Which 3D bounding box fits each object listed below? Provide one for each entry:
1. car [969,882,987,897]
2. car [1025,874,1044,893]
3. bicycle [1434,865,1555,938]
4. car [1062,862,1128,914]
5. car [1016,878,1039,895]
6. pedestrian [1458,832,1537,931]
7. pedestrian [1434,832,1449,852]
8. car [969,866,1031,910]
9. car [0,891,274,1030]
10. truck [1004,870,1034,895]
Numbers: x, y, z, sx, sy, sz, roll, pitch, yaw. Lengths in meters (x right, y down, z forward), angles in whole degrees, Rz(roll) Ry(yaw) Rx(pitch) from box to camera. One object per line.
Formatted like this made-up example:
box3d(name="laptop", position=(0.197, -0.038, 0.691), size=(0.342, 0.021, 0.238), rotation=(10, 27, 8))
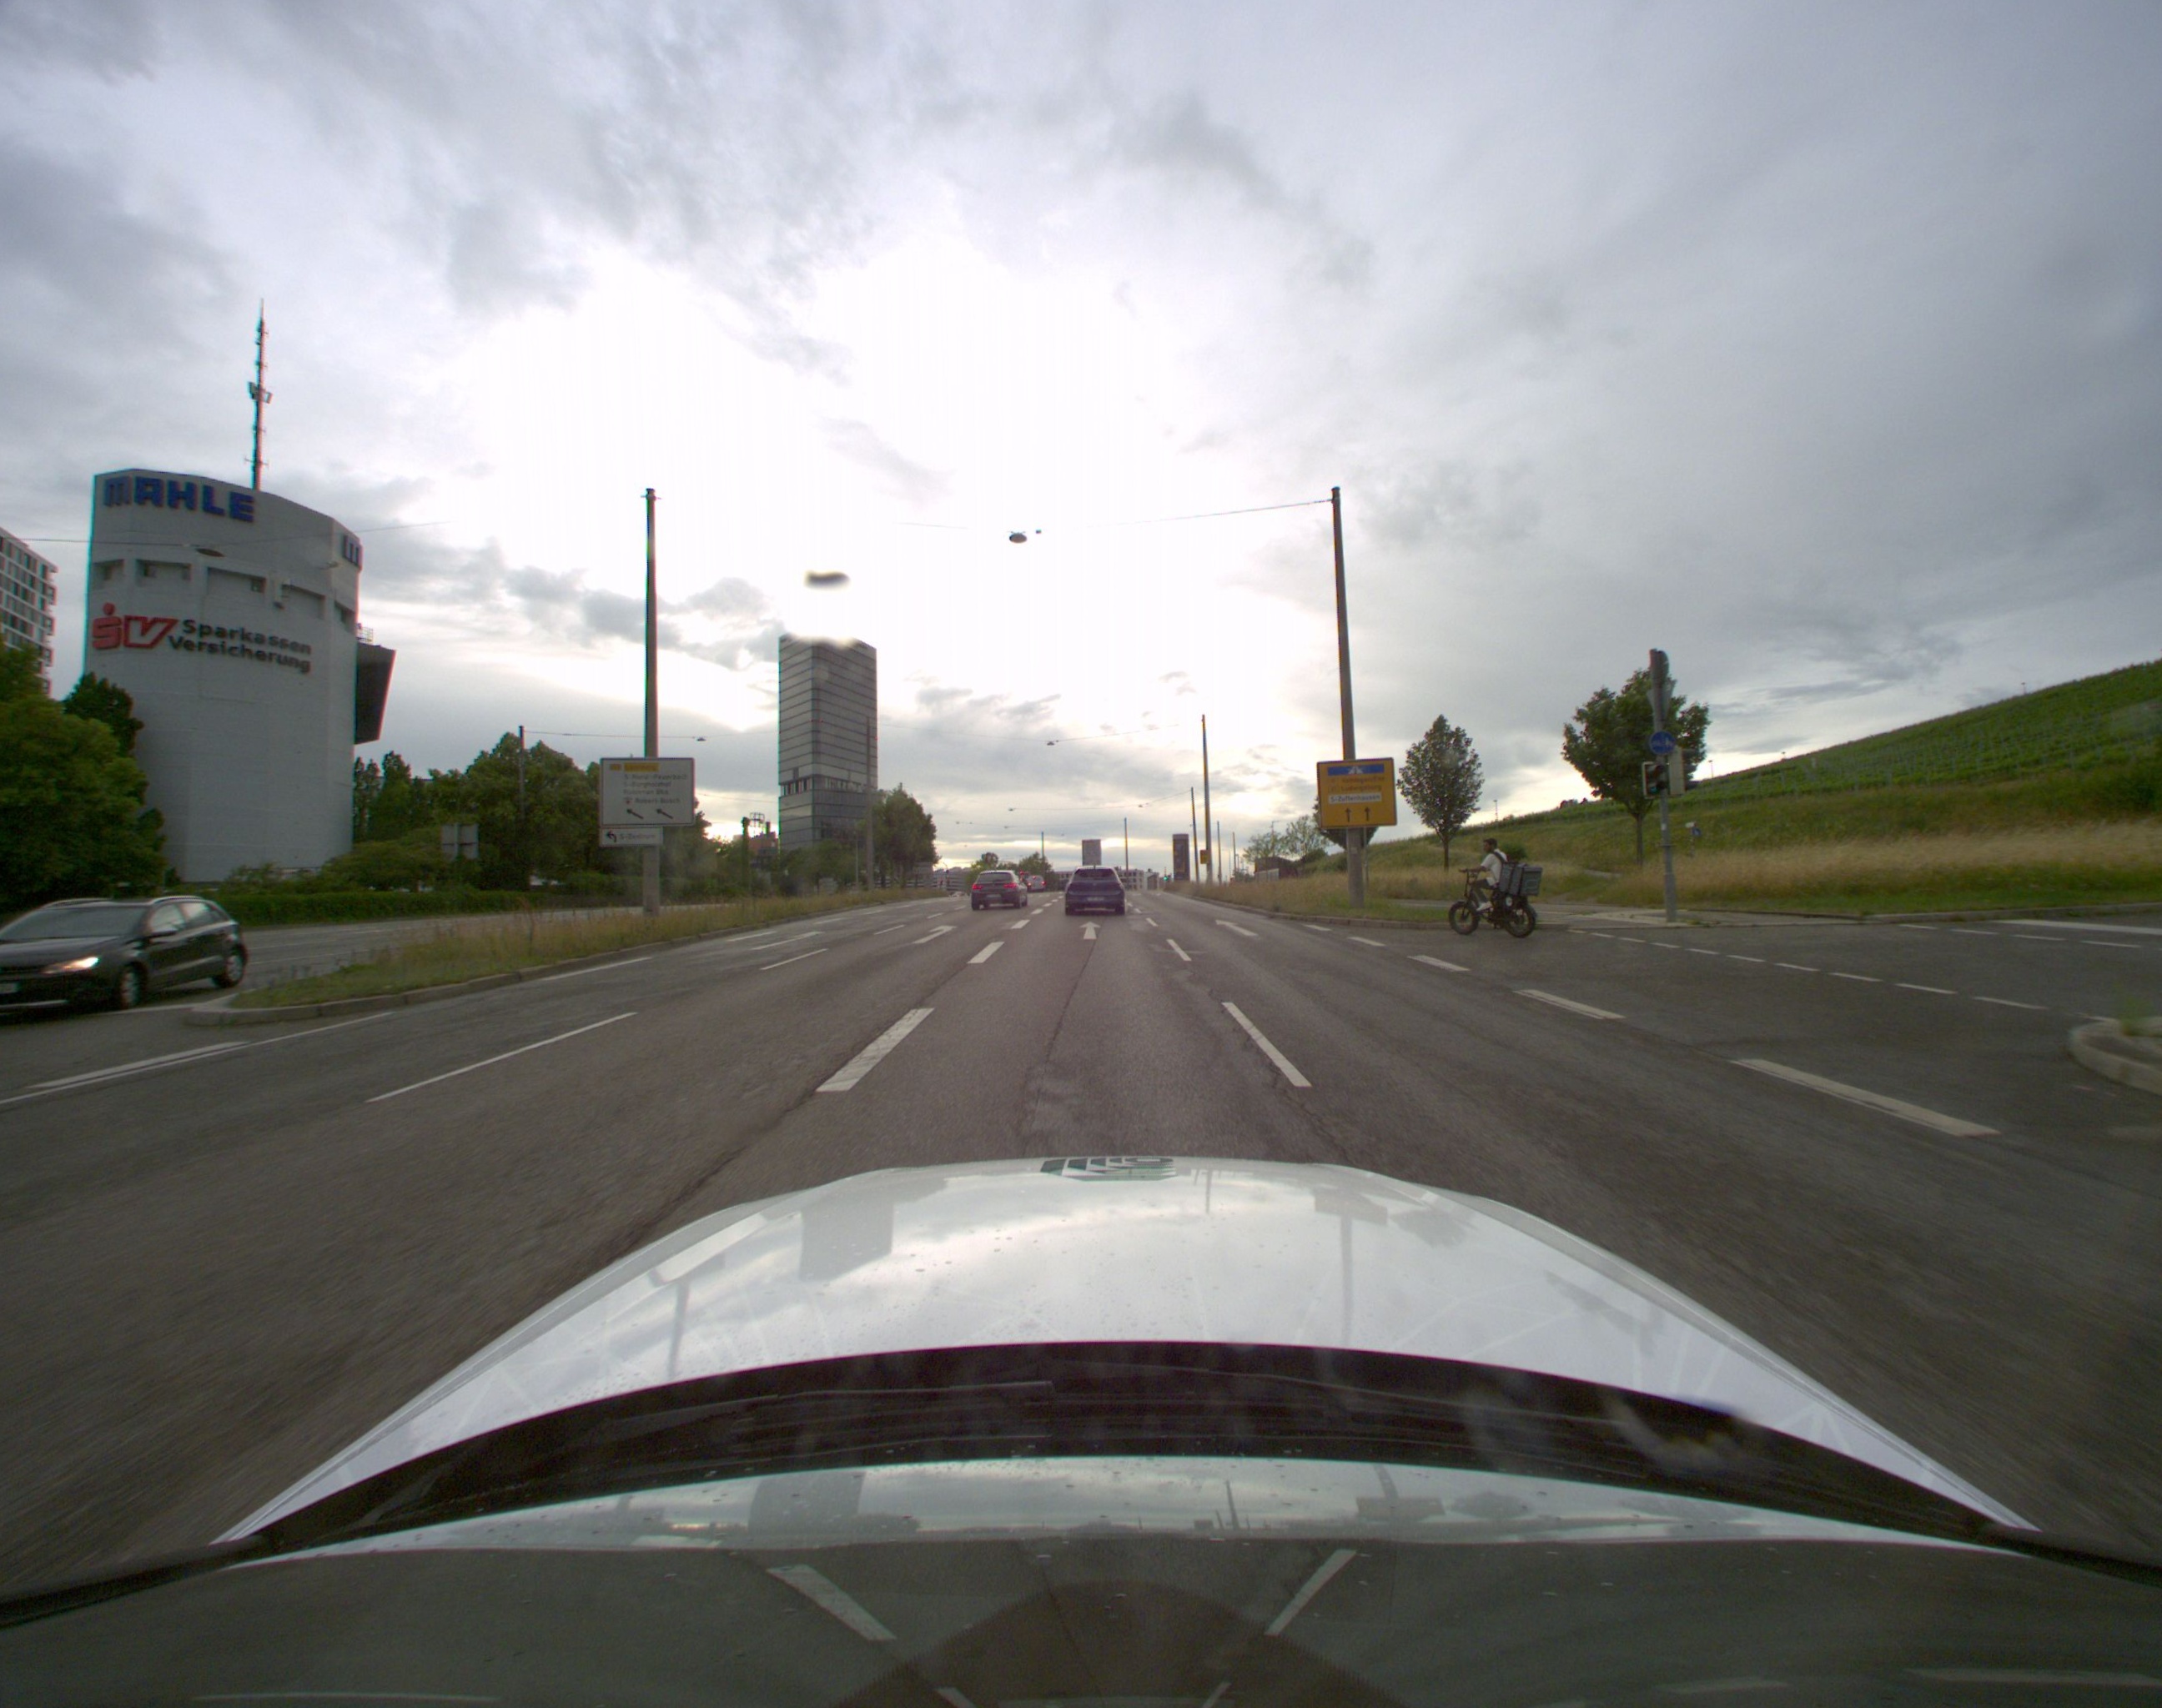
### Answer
box3d(name="car", position=(-15.032, 5.187, 119.093), size=(1.997, 2.013, 3.979), rotation=(-3, 0, -15))
box3d(name="car", position=(-5.280, 3.345, 92.013), size=(1.902, 1.973, 5.079), rotation=(-2, -3, -6))
box3d(name="bicycle", position=(6.926, 0.775, 13.738), size=(0.636, 1.105, 1.739), rotation=(-4, -1, -24))
box3d(name="car", position=(0.480, 1.024, 25.024), size=(1.831, 1.394, 4.002), rotation=(-2, -2, 2))
box3d(name="car", position=(-5.127, 3.102, 78.220), size=(1.714, 1.541, 3.707), rotation=(0, 0, 3))
box3d(name="pedestrian", position=(6.961, 0.449, 13.633), size=(0.636, 1.570, 0.888), rotation=(-4, 0, -25))
box3d(name="pedestrian", position=(37.657, -1.247, 85.018), size=(0.784, 2.013, 1.044), rotation=(-3, -1, -32))
box3d(name="car", position=(-2.983, 1.224, 30.682), size=(1.863, 1.461, 3.976), rotation=(-1, 0, 1))
box3d(name="car", position=(-13.557, 1.360, 11.370), size=(1.898, 1.507, 3.968), rotation=(-2, -1, -24))
box3d(name="truck", position=(-8.314, 3.897, 108.568), size=(2.672, 3.220, 6.511), rotation=(0, -3, -16))
